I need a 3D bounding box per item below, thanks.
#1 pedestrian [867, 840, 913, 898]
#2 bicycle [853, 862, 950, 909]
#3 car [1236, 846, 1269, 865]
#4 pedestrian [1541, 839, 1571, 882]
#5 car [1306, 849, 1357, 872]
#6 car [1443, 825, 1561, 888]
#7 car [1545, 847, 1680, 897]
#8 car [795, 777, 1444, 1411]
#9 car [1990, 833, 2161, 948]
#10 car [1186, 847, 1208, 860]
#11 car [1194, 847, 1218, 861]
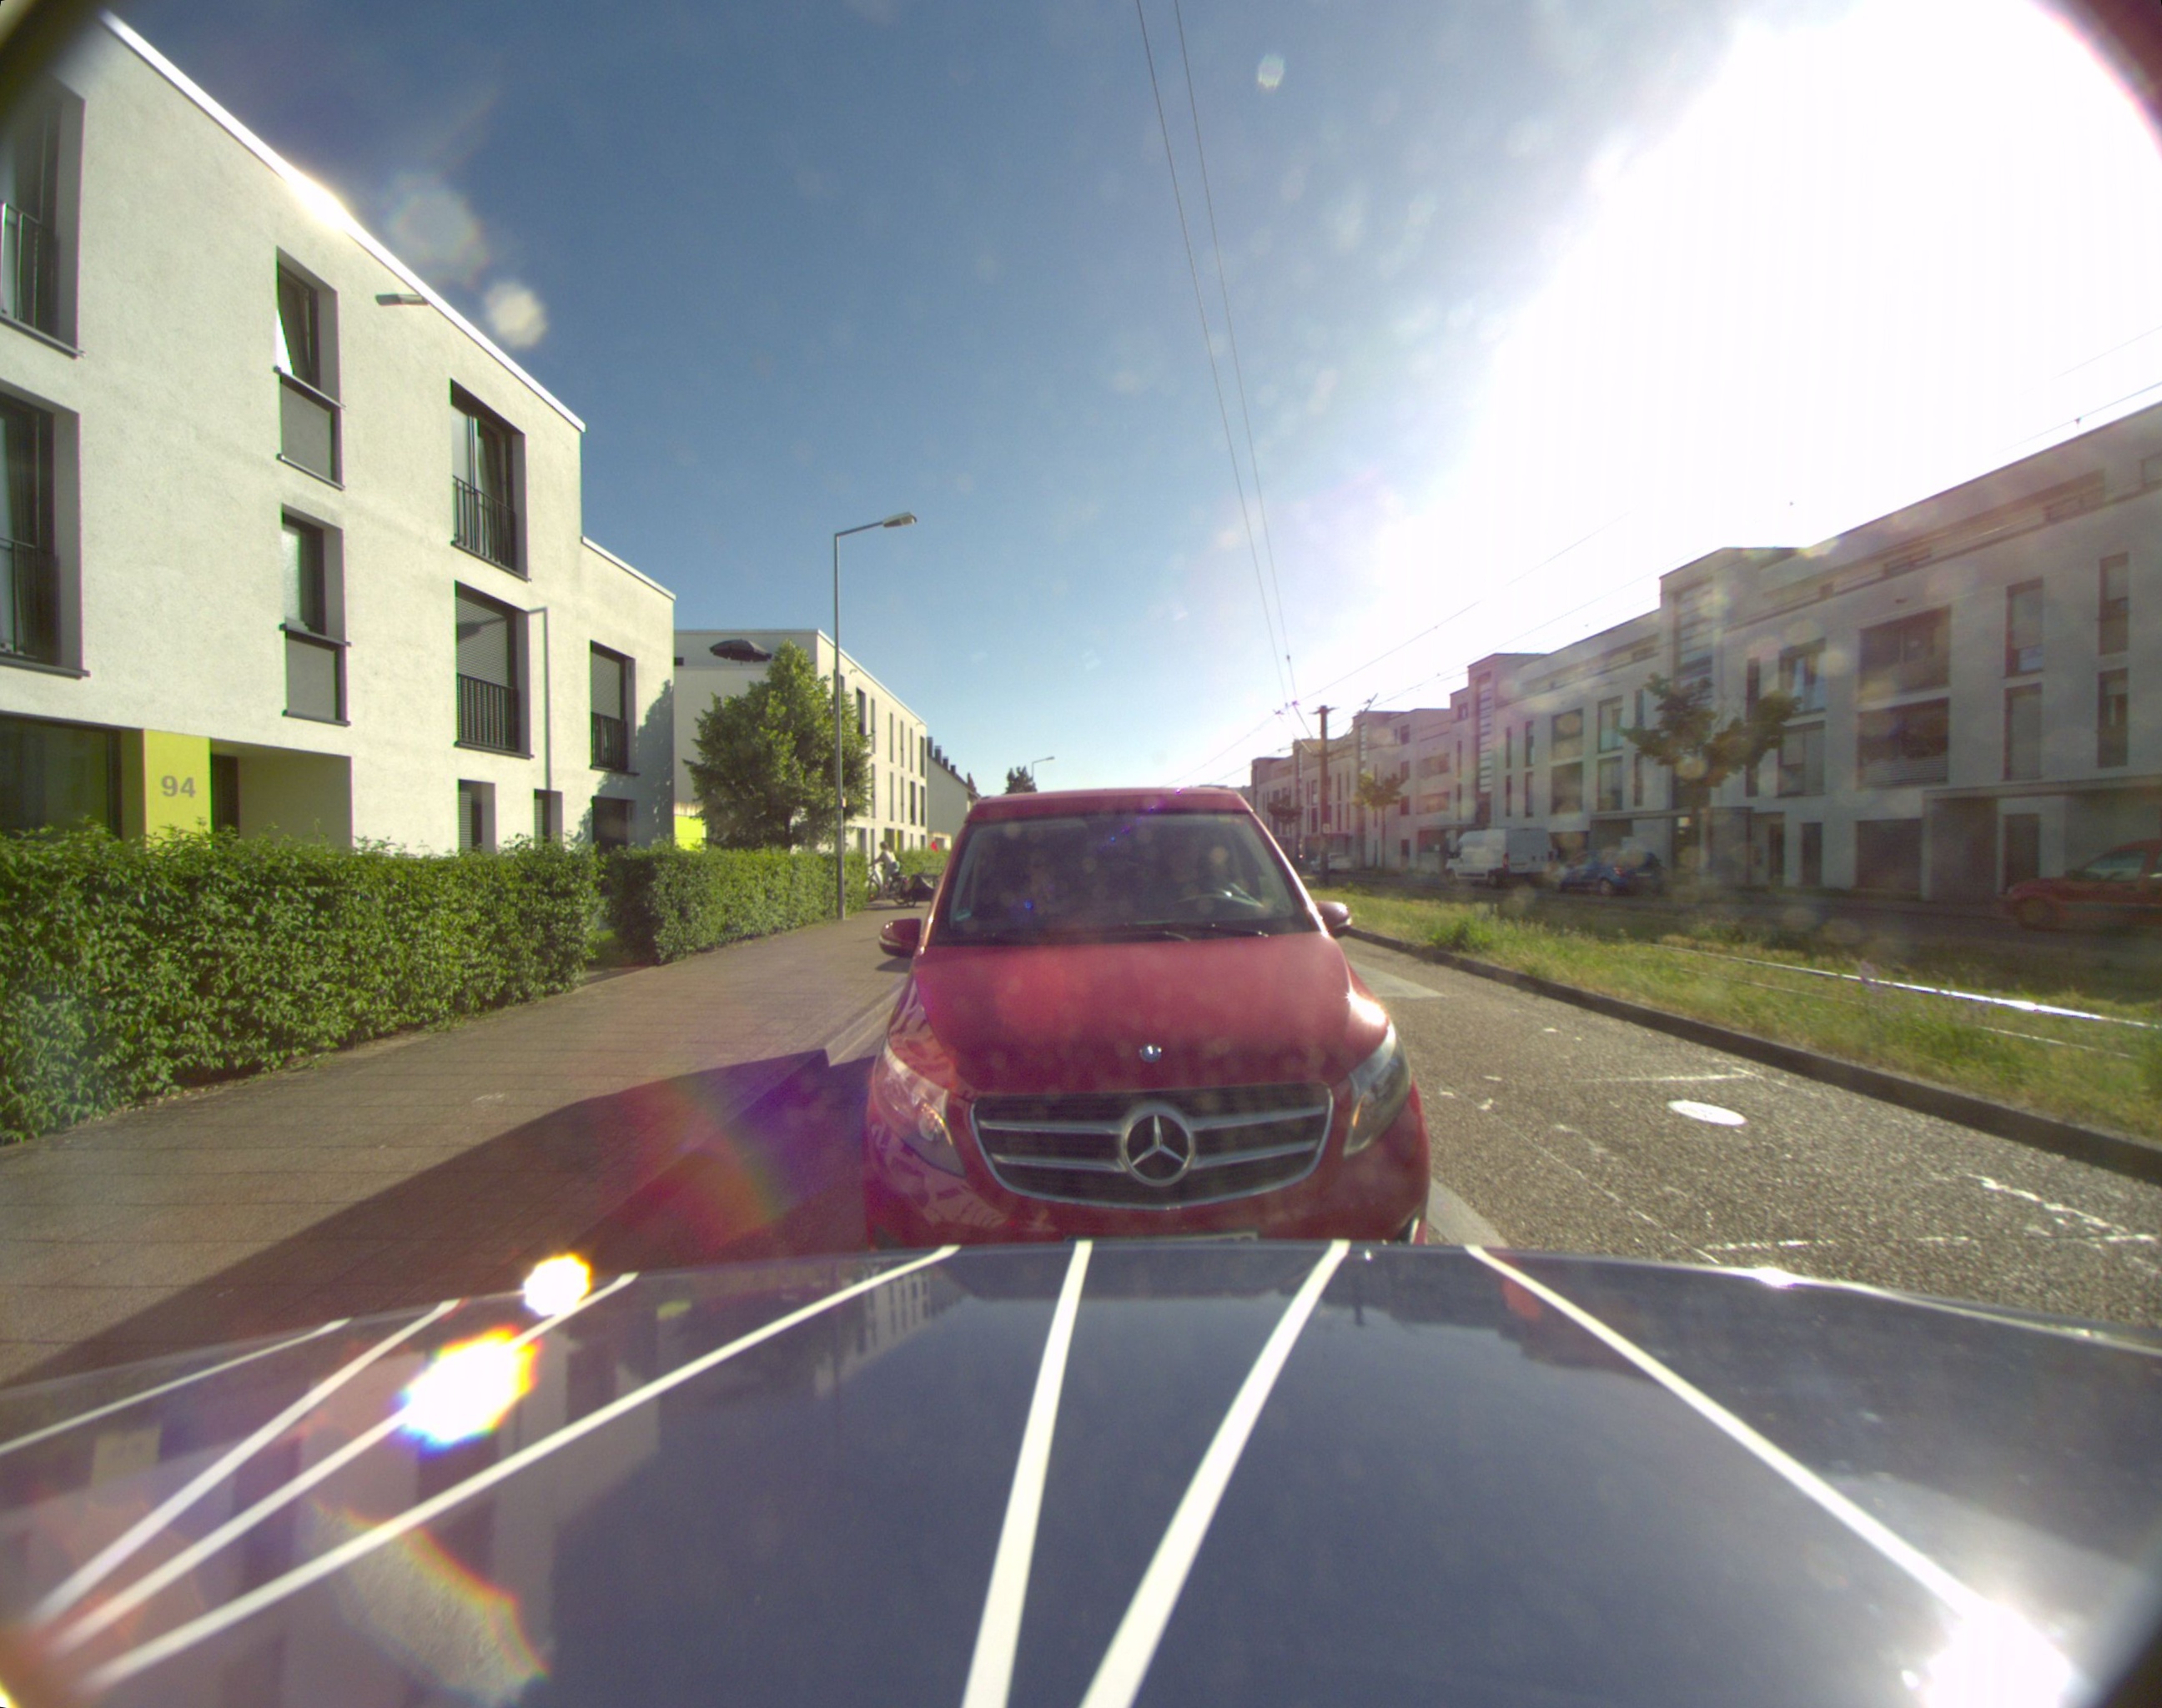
[{"bbox_3d":[-5.306,0.399,21.113,0.852,1.585,0.915,1,1,41],"label":"pedestrian"},{"bbox_3d":[-4.959,0.822,20.826,3.116,1.166,0.933,1,1,41],"label":"bicycle"},{"bbox_3d":[16.710,0.136,74.343,1.923,1.671,4.282,-2,1,-4],"label":"car"},{"bbox_3d":[20.609,0.274,32.956,0.776,1.812,0.785,-2,1,1],"label":"pedestrian"},{"bbox_3d":[17.627,0.418,53.728,1.923,1.497,4.282,-2,1,-4],"label":"car"},{"bbox_3d":[18.163,0.078,33.159,2.225,2.458,5.195,-2,1,0],"label":"car"},{"bbox_3d":[18.371,0.580,26.488,1.999,1.536,3.835,-2,1,0],"label":"car"},{"bbox_3d":[0.149,0.703,4.525,1.874,1.843,4.506,-2,1,1],"label":"car"},{"bbox_3d":[18.613,0.583,12.797,1.998,1.817,3.895,-2,1,3],"label":"car"},{"bbox_3d":[15.177,-0.058,99.646,1.923,1.671,4.282,-2,1,-4],"label":"car"},{"bbox_3d":[15.464,-0.035,93.894,1.923,1.671,4.282,-2,1,-4],"label":"car"}]
